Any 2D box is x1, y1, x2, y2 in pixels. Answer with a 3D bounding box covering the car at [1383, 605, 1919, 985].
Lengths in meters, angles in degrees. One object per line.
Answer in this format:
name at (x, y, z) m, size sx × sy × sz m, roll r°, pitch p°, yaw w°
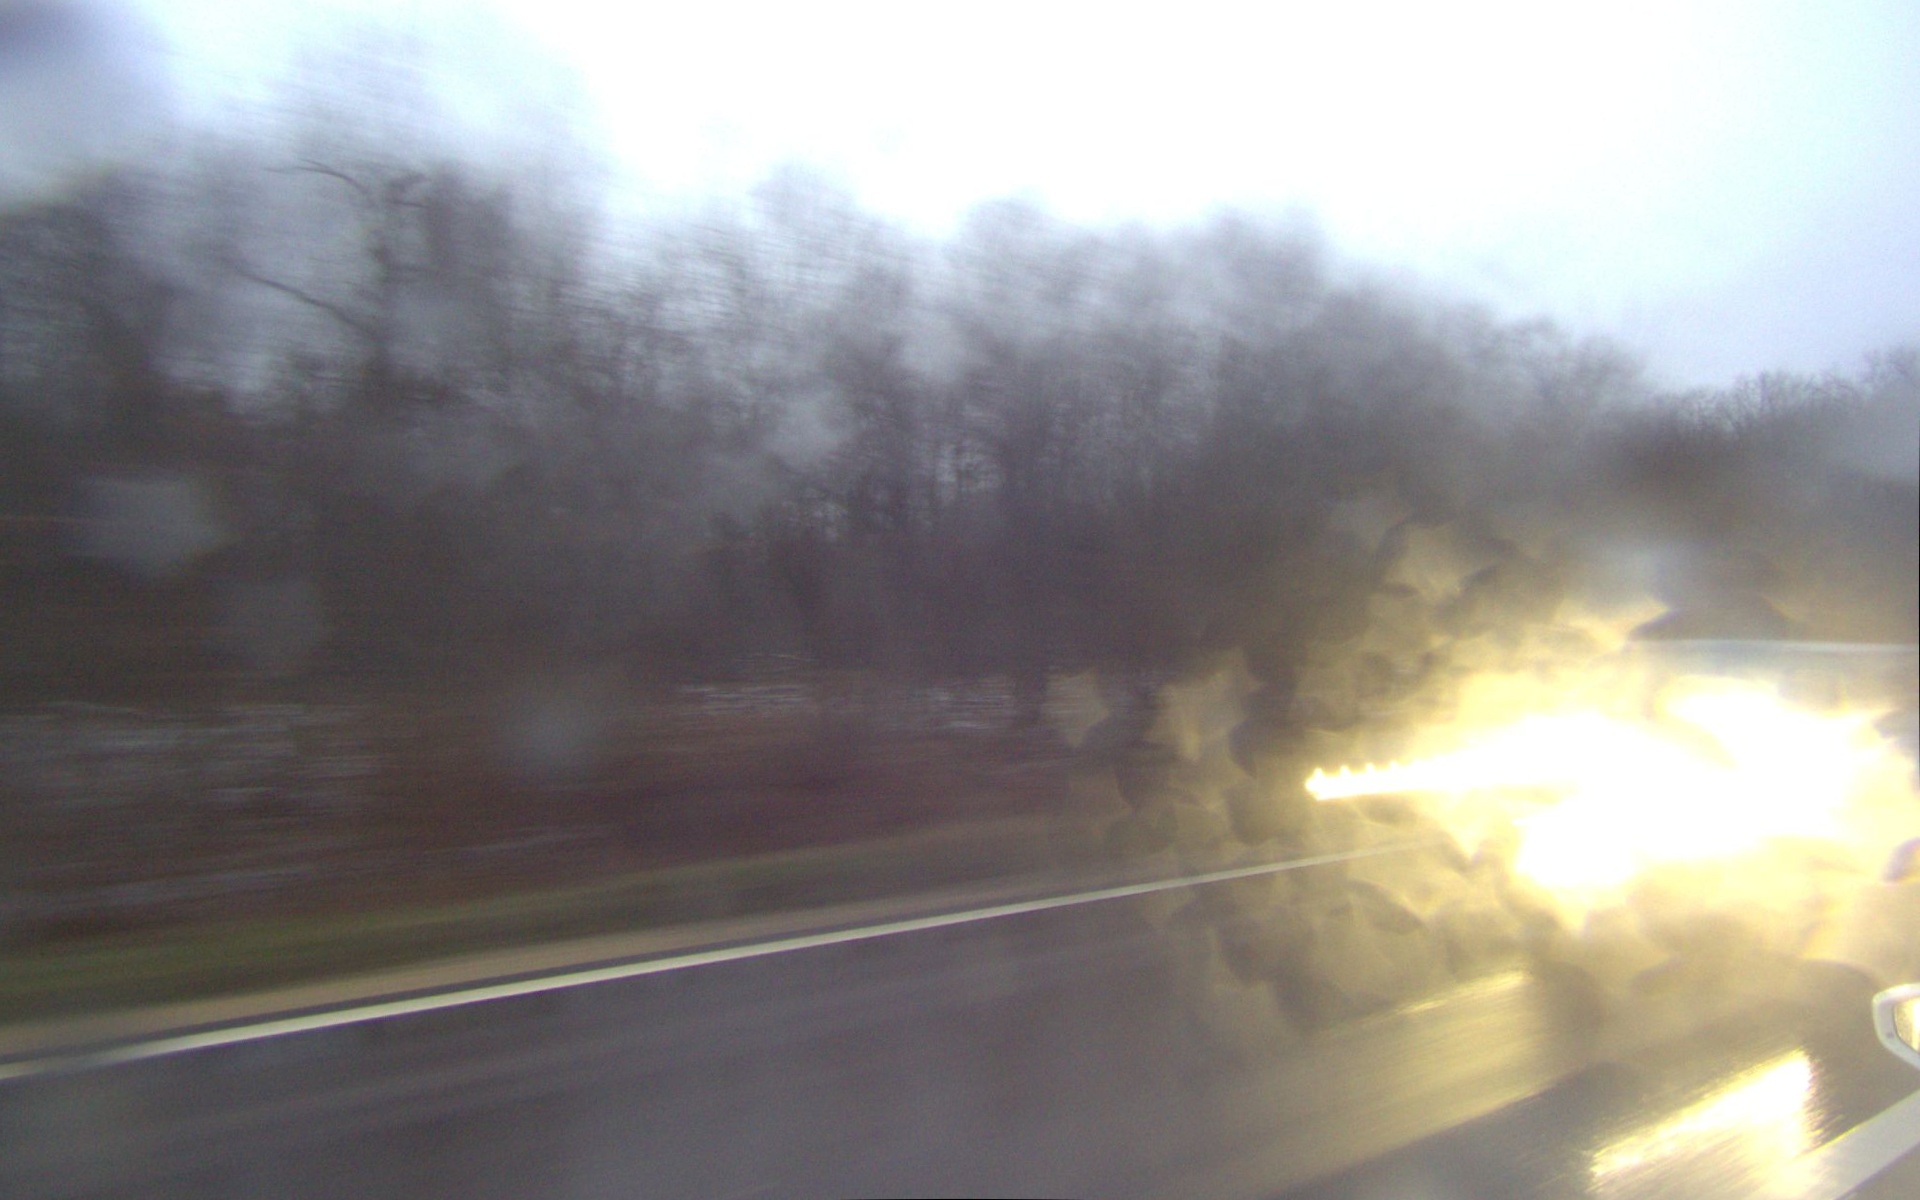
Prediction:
car at (4.504, 0.845, 5.958) m, size 3.948 × 1.573 × 1.739 m, roll 1°, pitch -1°, yaw -32°
